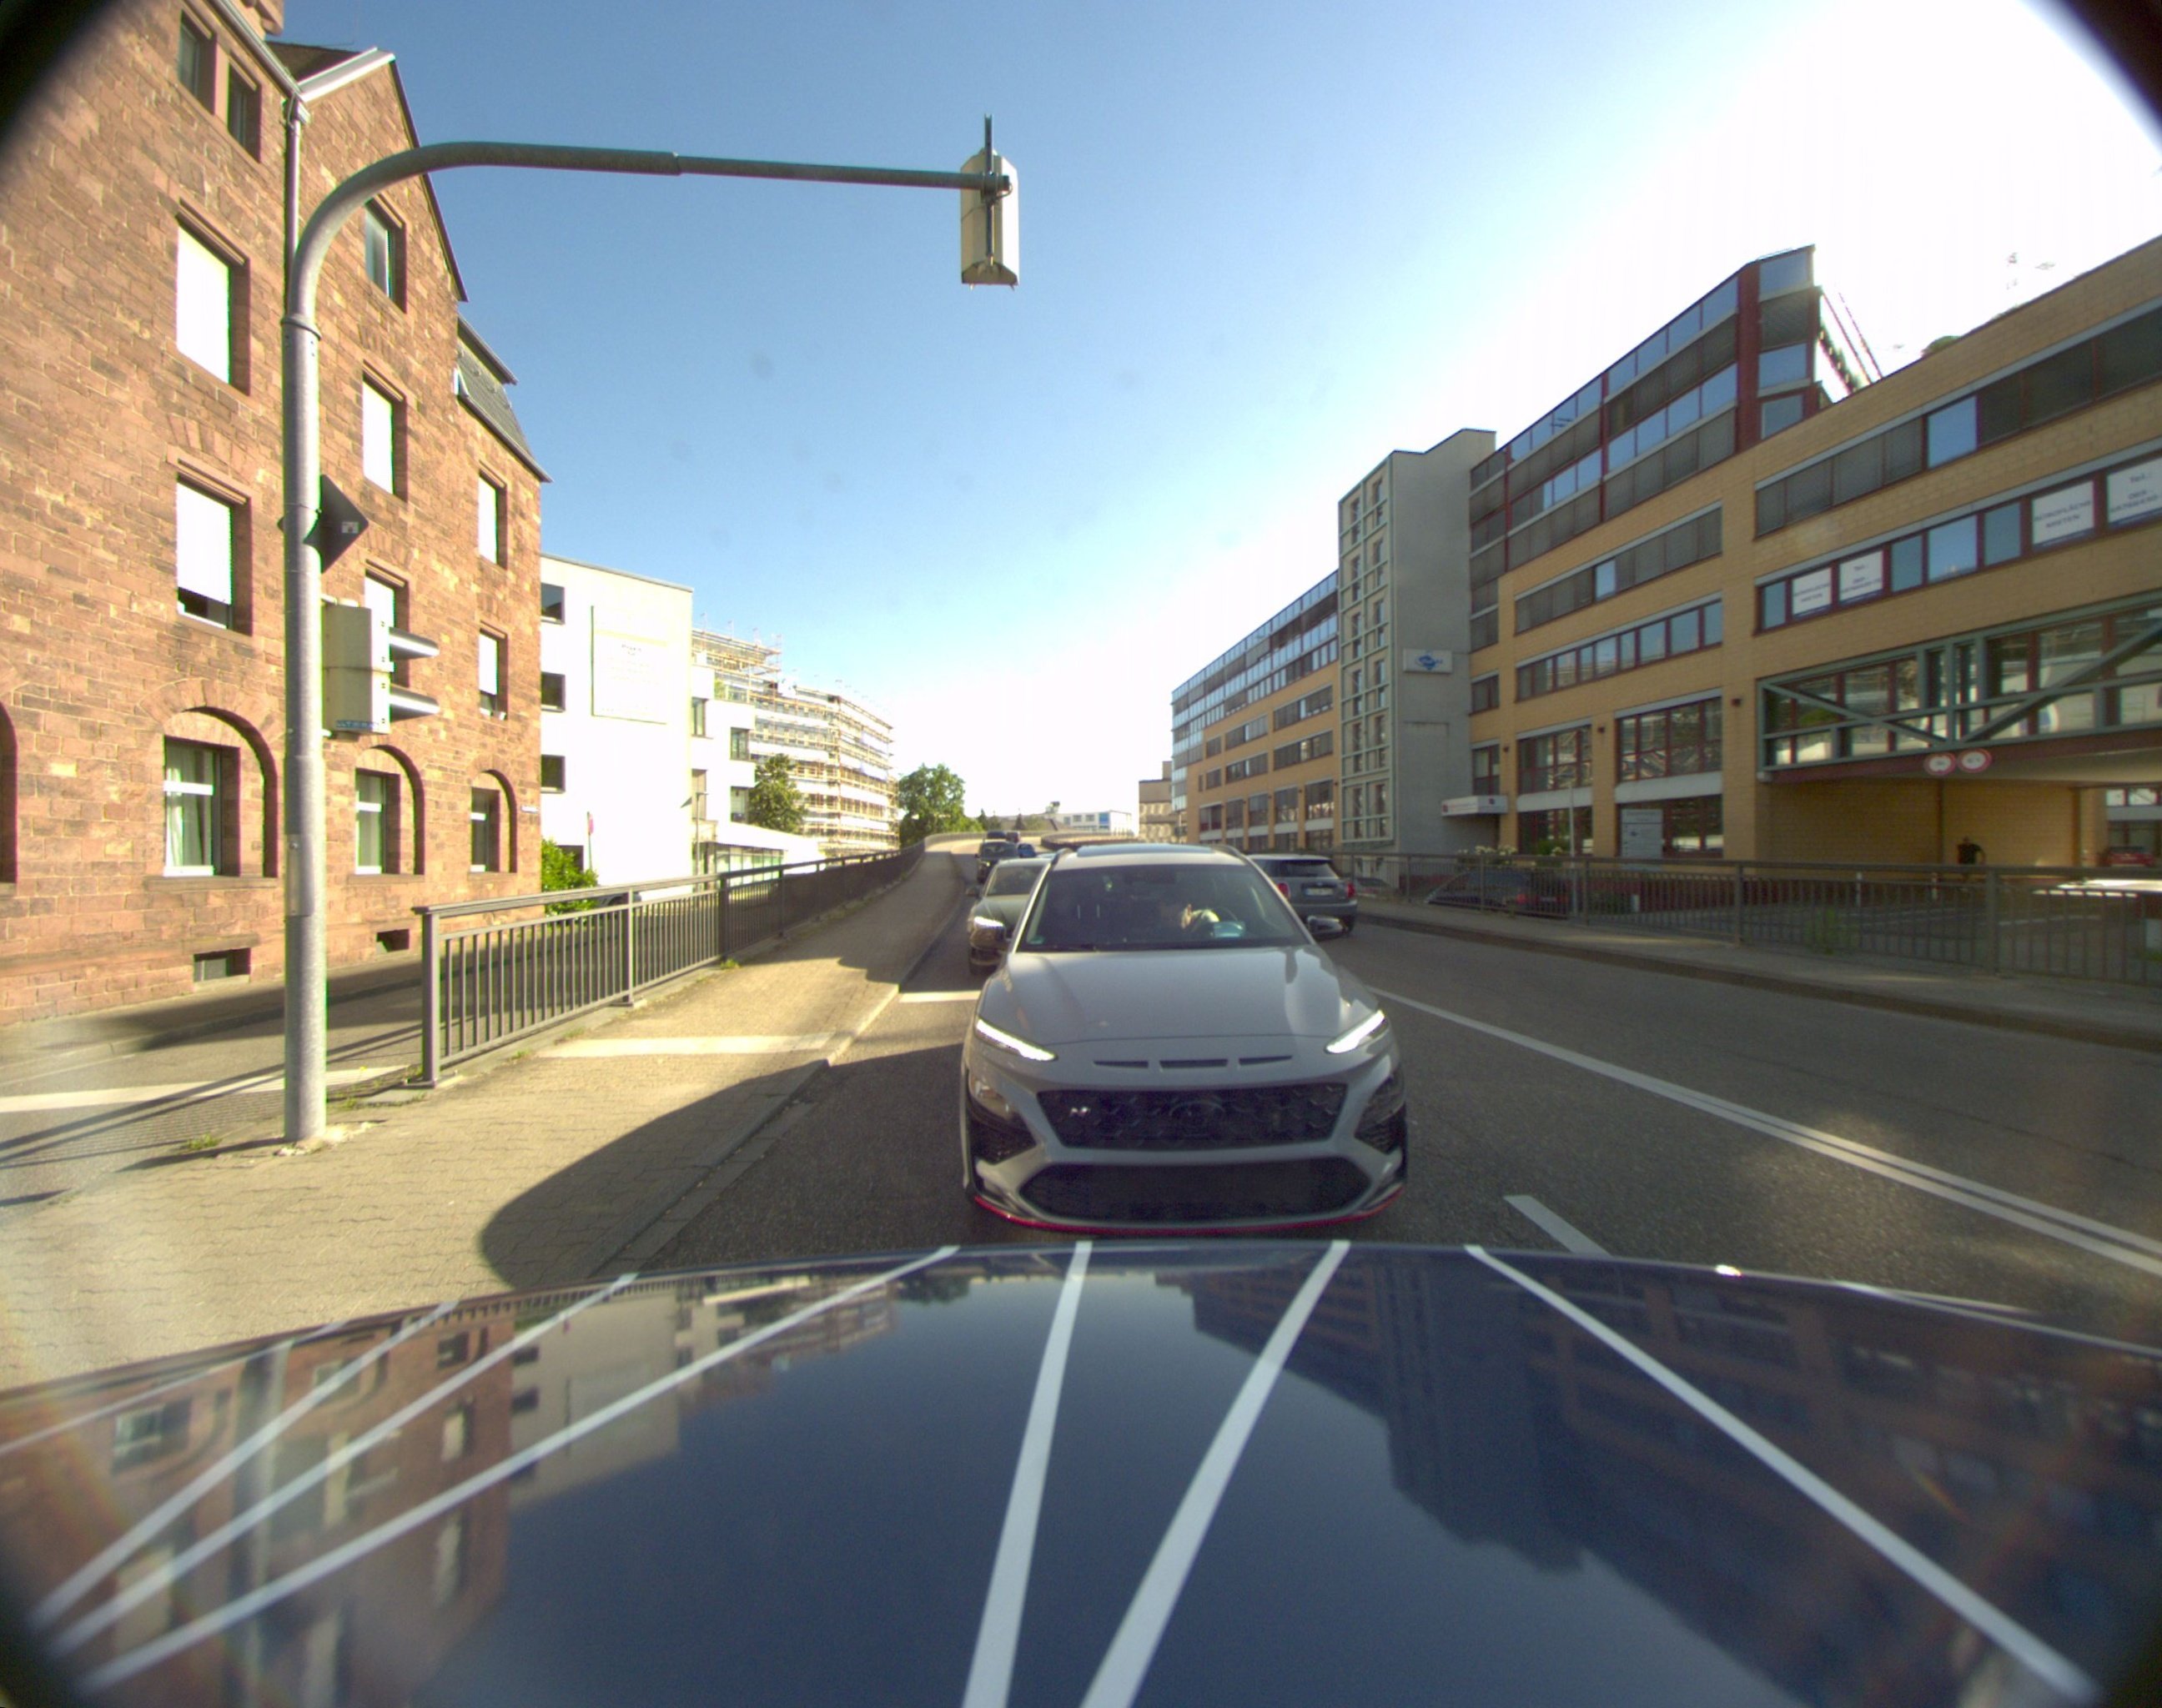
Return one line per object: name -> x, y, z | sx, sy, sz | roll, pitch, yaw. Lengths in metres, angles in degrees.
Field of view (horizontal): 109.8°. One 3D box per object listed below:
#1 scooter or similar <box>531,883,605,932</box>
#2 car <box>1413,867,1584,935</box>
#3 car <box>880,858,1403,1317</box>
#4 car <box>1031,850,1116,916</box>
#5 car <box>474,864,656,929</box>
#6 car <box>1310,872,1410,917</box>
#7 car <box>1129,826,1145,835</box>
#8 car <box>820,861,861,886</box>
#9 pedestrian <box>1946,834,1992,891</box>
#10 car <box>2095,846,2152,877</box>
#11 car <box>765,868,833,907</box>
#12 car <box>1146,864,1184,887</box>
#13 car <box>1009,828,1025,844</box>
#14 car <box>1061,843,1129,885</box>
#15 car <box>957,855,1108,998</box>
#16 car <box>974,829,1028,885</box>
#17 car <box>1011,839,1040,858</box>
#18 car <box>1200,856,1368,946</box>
scooter or similar -> -14.266, 1.473, 21.181 | 1.463, 1.212, 0.784 | -3, 1, -14
car -> 12.411, 1.303, 22.993 | 1.957, 1.747, 4.683 | -1, 0, -11
car -> 0.258, 0.857, 4.835 | 1.849, 1.561, 4.220 | -1, 1, 1
car -> -0.330, 0.722, 21.366 | 1.850, 1.527, 4.504 | -1, 2, -7
car -> -16.972, 1.302, 25.197 | 1.823, 1.757, 4.658 | 1, 2, 42
car -> 11.093, 1.561, 30.576 | 1.826, 1.594, 4.353 | 0, 0, -10
car -> 12.664, -5.355, 172.267 | 1.811, 1.791, 5.130 | 0, 0, 28
car -> -15.517, 1.239, 49.152 | 1.850, 1.526, 3.997 | 0, 0, -7
pedestrian -> 29.031, 0.271, 24.856 | 0.787, 1.833, 0.678 | 0, 0, -12
car -> 53.707, 0.386, 39.181 | 3.159, 1.564, 1.639 | 0, -1, -38
car -> -13.036, 1.494, 35.404 | 1.850, 1.422, 4.678 | -1, 2, -6
car -> 6.390, 1.601, 57.944 | 2.000, 1.652, 3.997 | 0, 0, -7
car -> -8.607, -2.385, 102.284 | 1.999, 1.924, 4.850 | 0, 0, -4
car -> 0.556, 0.366, 33.956 | 1.840, 1.644, 4.621 | -1, 2, -15
car -> -0.693, 0.838, 10.868 | 1.721, 1.483, 4.166 | -1, 2, -4
car -> -3.572, 0.045, 33.299 | 1.911, 2.202, 4.592 | -1, 3, -11
car -> -4.561, -0.430, 61.690 | 1.826, 1.495, 4.446 | 0, 1, -11
car -> 3.745, 0.796, 14.796 | 1.692, 1.448, 3.909 | 1, 1, -9
